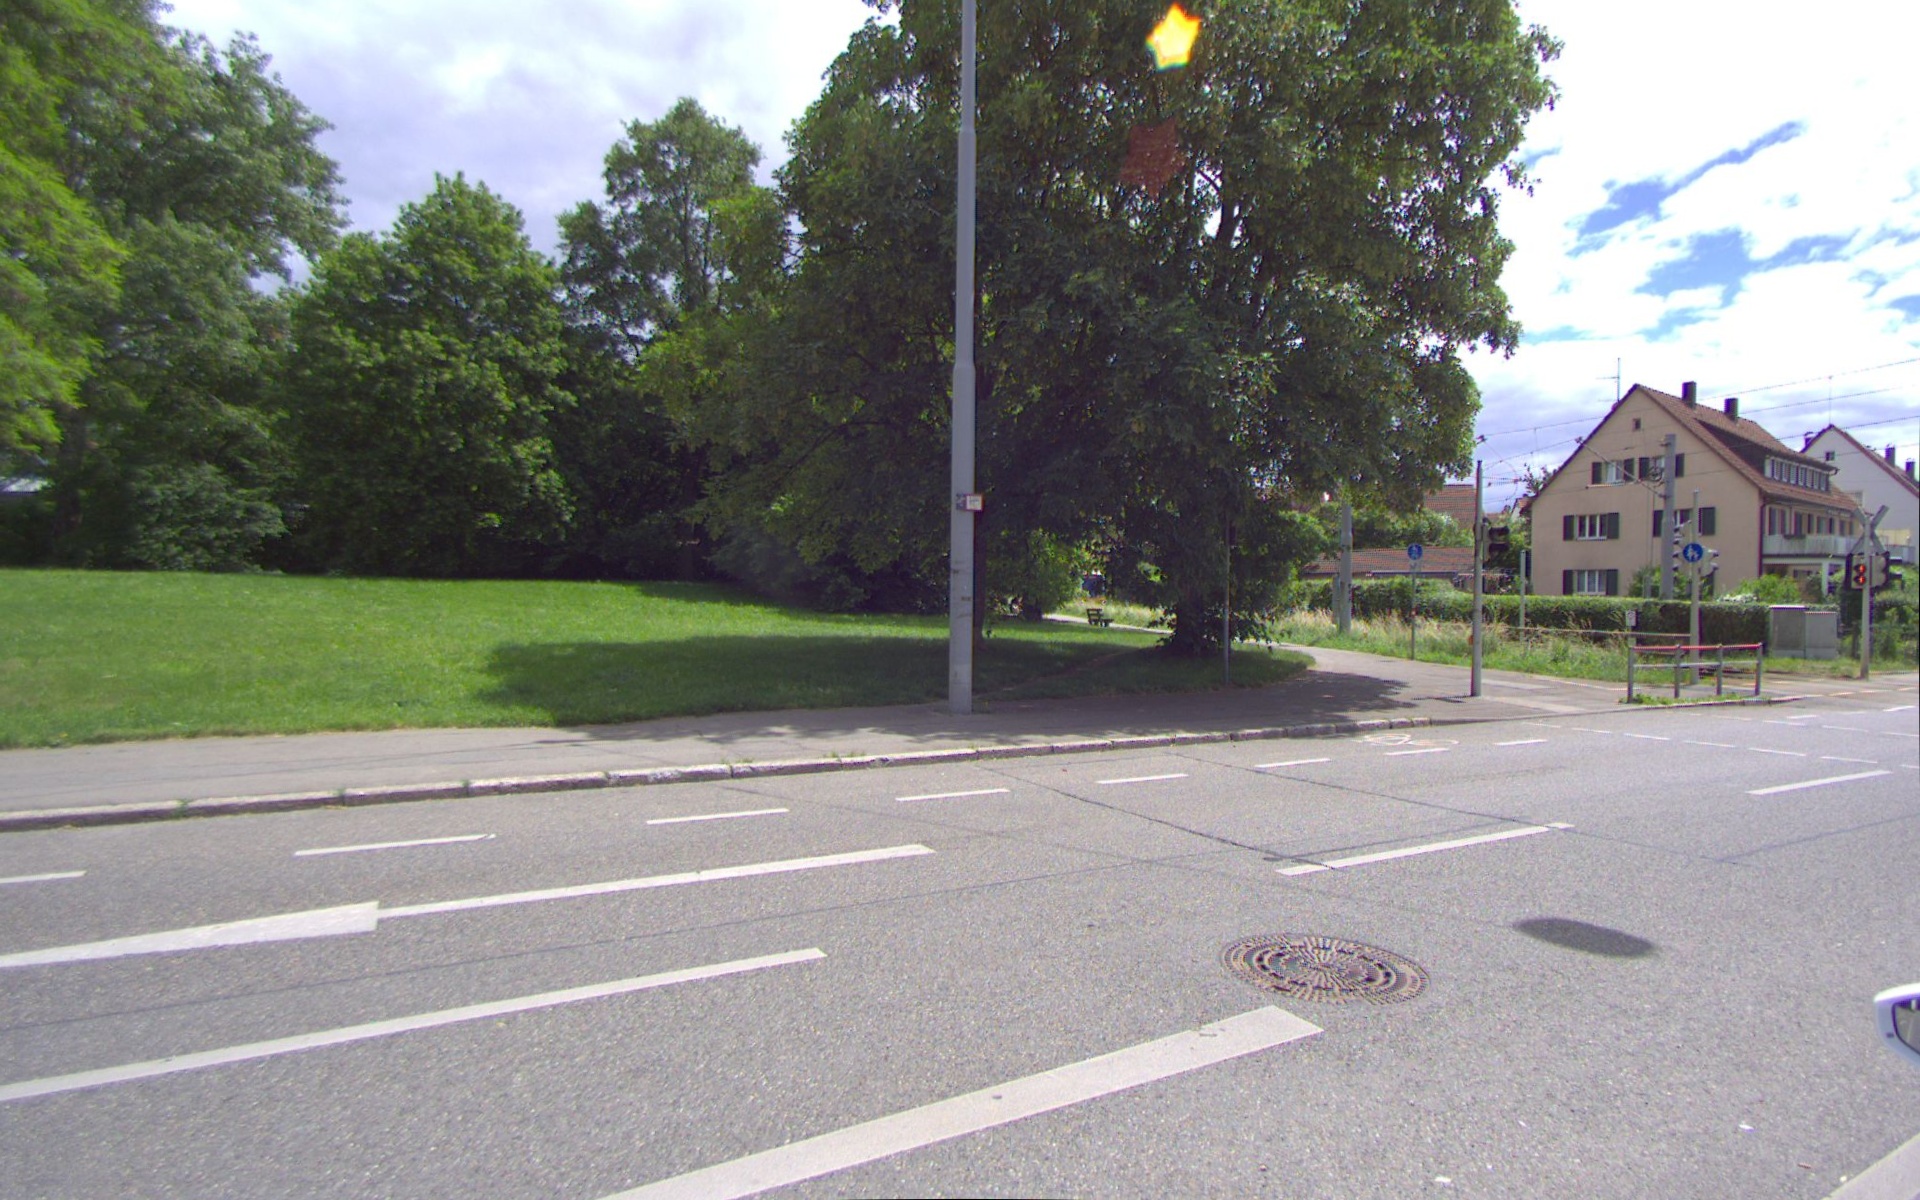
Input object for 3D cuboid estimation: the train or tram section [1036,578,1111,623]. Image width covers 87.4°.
[{"bbox_3d":[10.327,-0.090,94.511,2.864,3.754,19.098,1,1,-6],"label":"train or tram section"}]
